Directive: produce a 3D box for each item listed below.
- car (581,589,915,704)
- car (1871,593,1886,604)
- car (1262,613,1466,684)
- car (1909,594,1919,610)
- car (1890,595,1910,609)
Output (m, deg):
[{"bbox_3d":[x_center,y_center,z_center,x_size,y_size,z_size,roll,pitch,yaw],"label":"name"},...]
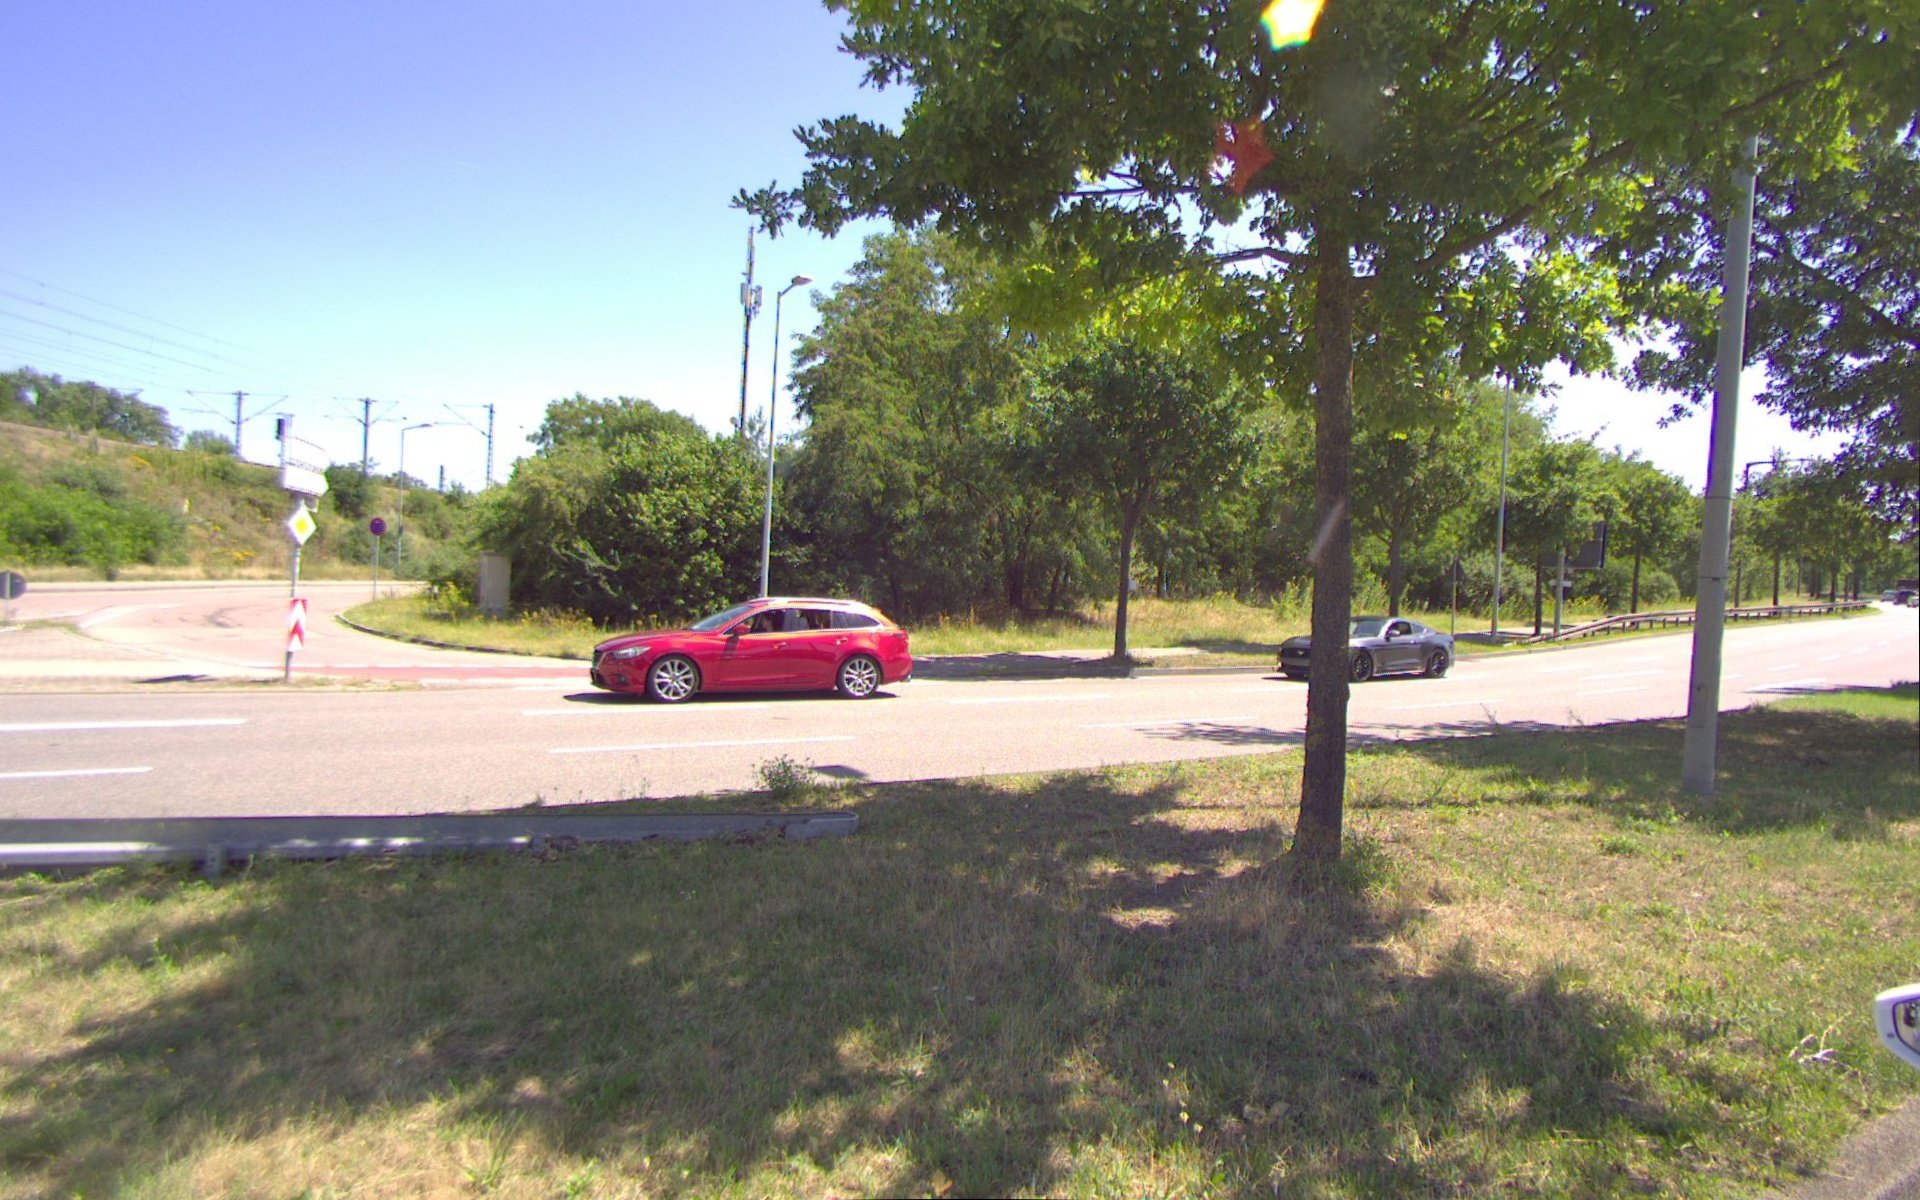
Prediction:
[{"bbox_3d":[-3.089,0.670,14.872,4.472,1.456,1.822,2,0,-30],"label":"car"},{"bbox_3d":[113.164,-0.174,123.737,1.307,1.154,2.978,3,0,43],"label":"car"},{"bbox_3d":[8.949,1.063,22.160,4.516,1.351,1.800,2,0,-31],"label":"car"},{"bbox_3d":[88.893,0.223,92.968,1.441,1.331,3.615,3,0,44],"label":"car"},{"bbox_3d":[97.068,0.244,103.701,1.402,1.331,3.317,3,0,44],"label":"car"}]
